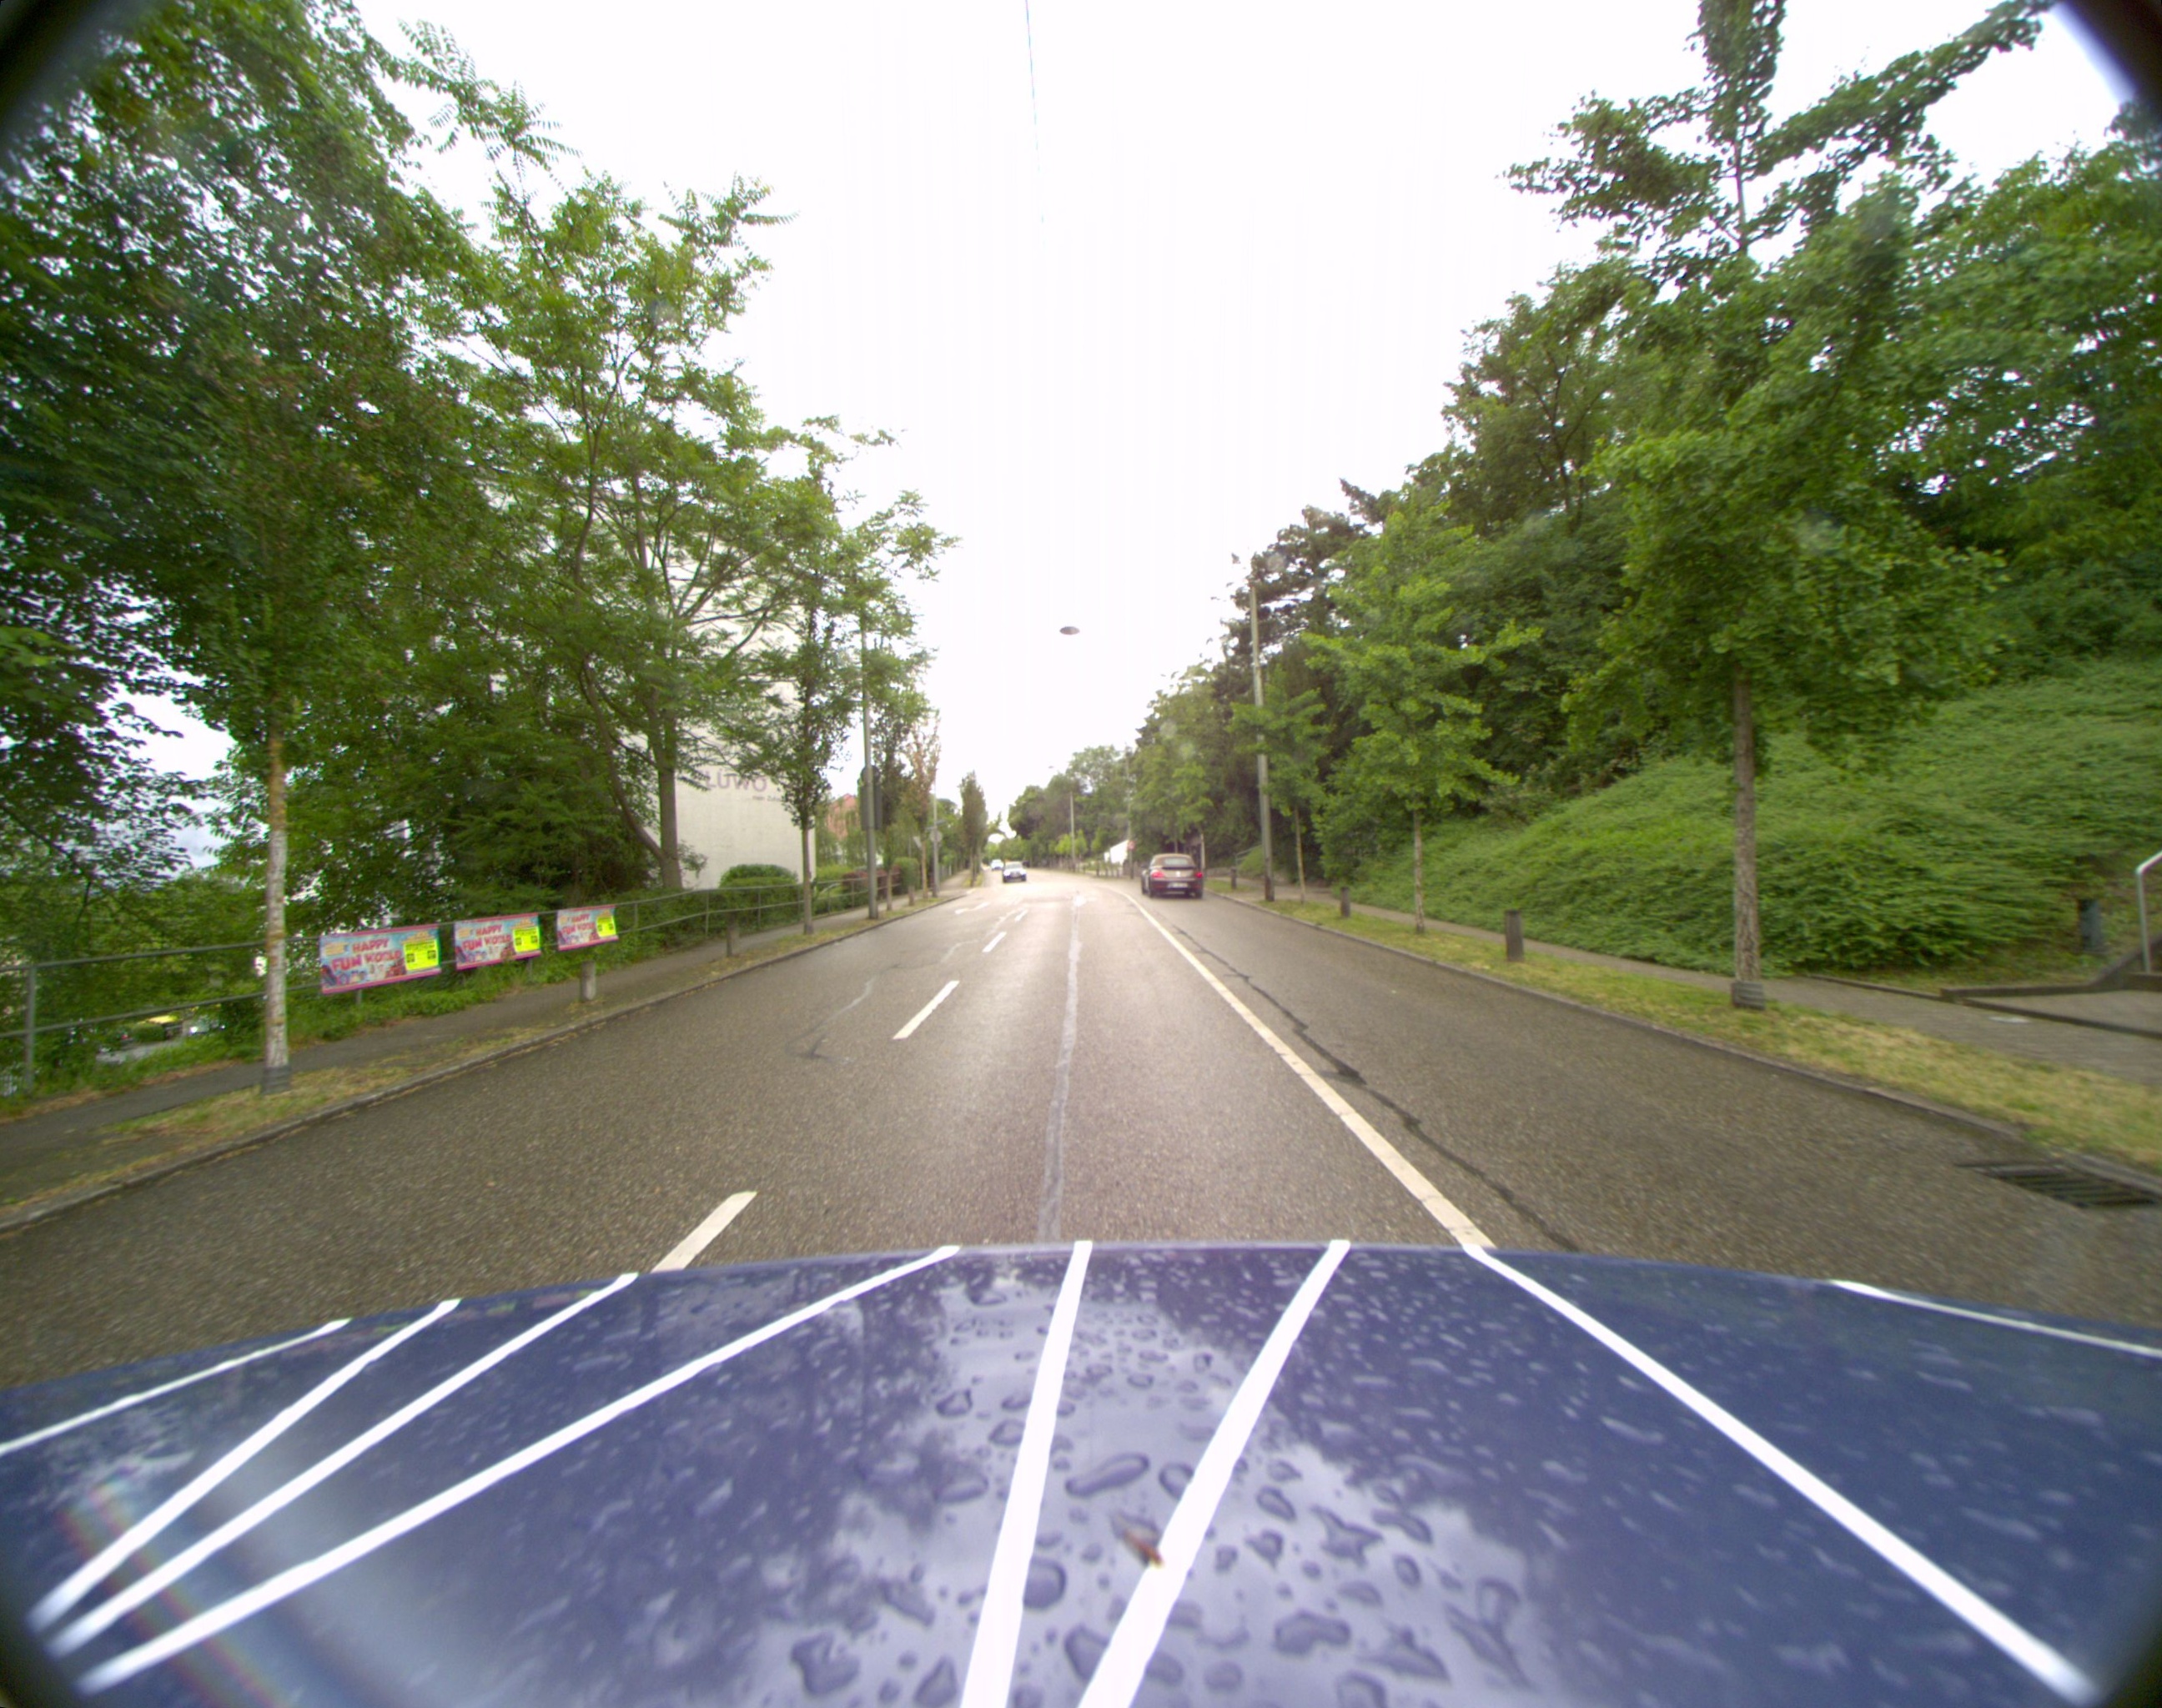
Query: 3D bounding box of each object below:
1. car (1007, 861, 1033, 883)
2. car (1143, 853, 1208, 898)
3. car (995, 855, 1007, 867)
[{"bbox_3d":[-5.097,1.439,63.668,1.834,1.609,4.292,-2,1,0],"label":"car"},{"bbox_3d":[3.225,0.698,26.747,1.782,1.440,3.999,0,0,0],"label":"car"},{"bbox_3d":[-12.703,1.094,121.224,1.835,1.609,4.348,-2,1,-5],"label":"car"}]
